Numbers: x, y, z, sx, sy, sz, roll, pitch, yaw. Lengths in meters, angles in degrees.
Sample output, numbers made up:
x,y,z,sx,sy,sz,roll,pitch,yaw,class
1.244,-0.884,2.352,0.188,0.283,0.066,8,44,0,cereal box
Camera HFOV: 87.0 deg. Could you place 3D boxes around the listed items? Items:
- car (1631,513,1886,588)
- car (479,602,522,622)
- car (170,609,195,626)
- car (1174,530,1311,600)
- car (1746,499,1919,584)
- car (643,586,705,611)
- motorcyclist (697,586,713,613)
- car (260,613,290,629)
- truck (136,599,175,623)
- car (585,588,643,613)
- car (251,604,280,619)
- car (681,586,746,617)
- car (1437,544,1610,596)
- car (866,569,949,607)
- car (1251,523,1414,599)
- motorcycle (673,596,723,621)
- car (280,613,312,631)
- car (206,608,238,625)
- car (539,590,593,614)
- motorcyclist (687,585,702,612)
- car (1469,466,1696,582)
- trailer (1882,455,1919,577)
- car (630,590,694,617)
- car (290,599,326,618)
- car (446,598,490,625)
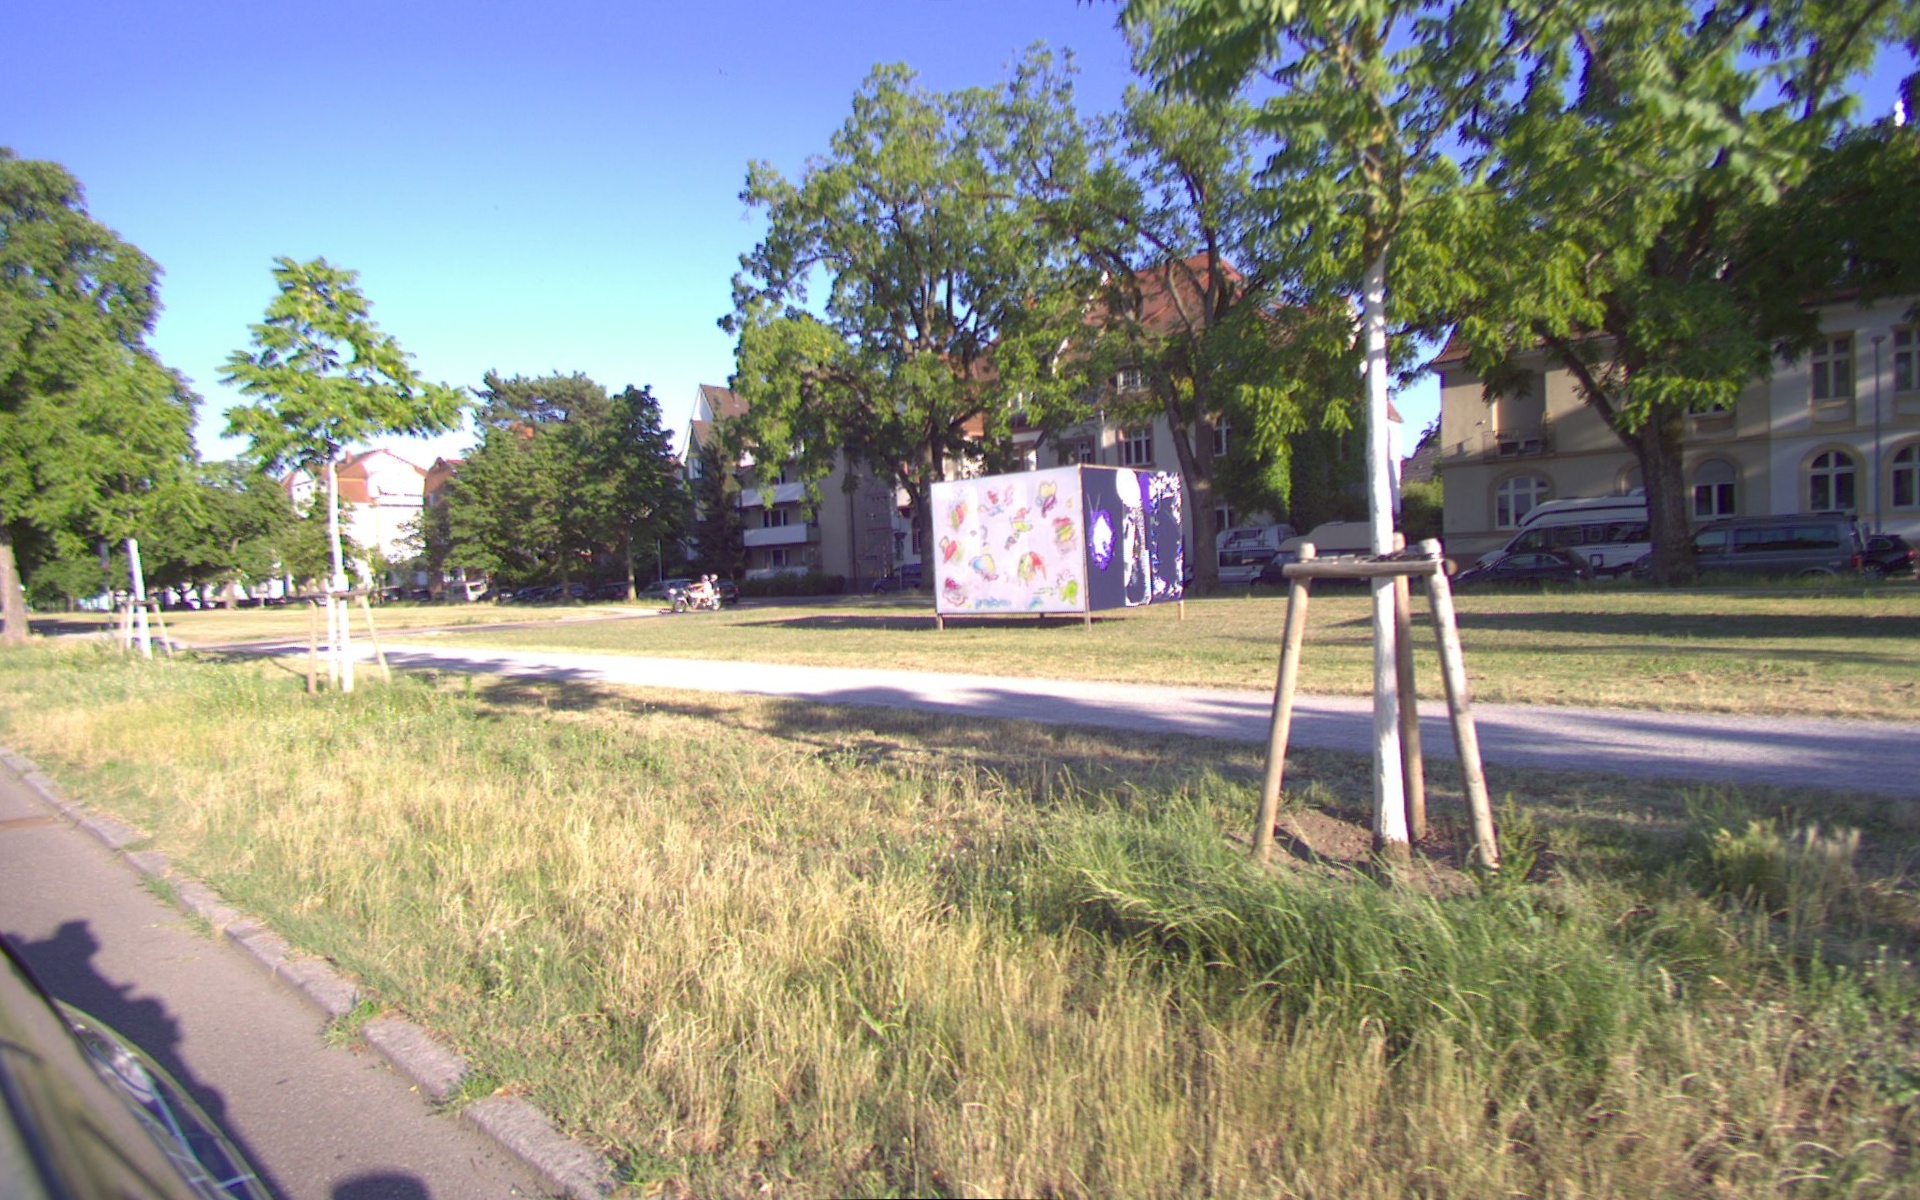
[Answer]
x,y,z,sx,sy,sz,roll,pitch,yaw,class
20.201,-1.232,25.825,4.947,1.654,1.974,-1,4,40,car
-38.977,1.006,85.747,4.001,1.617,1.971,0,0,44,car
-103.183,2.305,134.361,4.001,2.028,1.972,-2,1,44,car
11.461,-1.368,41.301,5.042,2.659,1.925,0,-1,41,car
25.053,-1.647,28.860,3.999,2.170,1.973,-1,2,42,car
-19.286,-0.112,68.173,3.993,1.510,1.976,-2,1,37,car
-11.322,-0.045,44.934,0.566,1.158,0.751,-3,1,-7,motorcyclist
-83.689,2.558,123.623,3.995,1.896,1.974,0,0,38,car
-115.063,1.608,144.686,7.704,3.169,2.750,-2,2,40,truck
-21.208,0.031,62.016,3.637,1.379,1.542,-2,1,37,car
-89.607,1.509,130.558,3.995,1.859,1.974,0,0,38,car
-13.604,0.094,55.834,1.868,1.534,3.683,-3,1,-43,car
16.218,-0.847,29.246,4.043,1.325,1.833,0,4,44,car
-2.822,-0.613,53.624,4.281,1.838,1.605,-2,1,37,car
12.093,-1.225,33.014,4.566,2.190,1.974,-2,1,39,car
-11.641,0.379,44.965,2.075,0.964,0.568,-3,2,-17,motorcycle
-78.997,2.657,120.338,3.995,1.921,1.975,-2,1,38,car
-88.153,1.940,120.893,3.997,2.029,2.099,0,0,40,car
-25.803,0.131,66.297,3.637,1.426,1.542,-2,1,37,car
-11.802,-0.052,44.940,0.566,1.158,0.752,-3,1,-14,motorcyclist
20.363,-2.376,33.333,6.071,3.273,1.973,-2,1,41,car
24.587,-1.913,21.968,6.632,2.679,2.448,0,0,41,trailer
-17.250,0.206,58.483,3.637,1.418,1.672,-2,1,37,car
-64.765,0.894,100.494,3.998,1.715,1.973,-2,1,41,car
-43.695,1.056,89.888,4.001,2.027,1.973,-3,6,44,car
